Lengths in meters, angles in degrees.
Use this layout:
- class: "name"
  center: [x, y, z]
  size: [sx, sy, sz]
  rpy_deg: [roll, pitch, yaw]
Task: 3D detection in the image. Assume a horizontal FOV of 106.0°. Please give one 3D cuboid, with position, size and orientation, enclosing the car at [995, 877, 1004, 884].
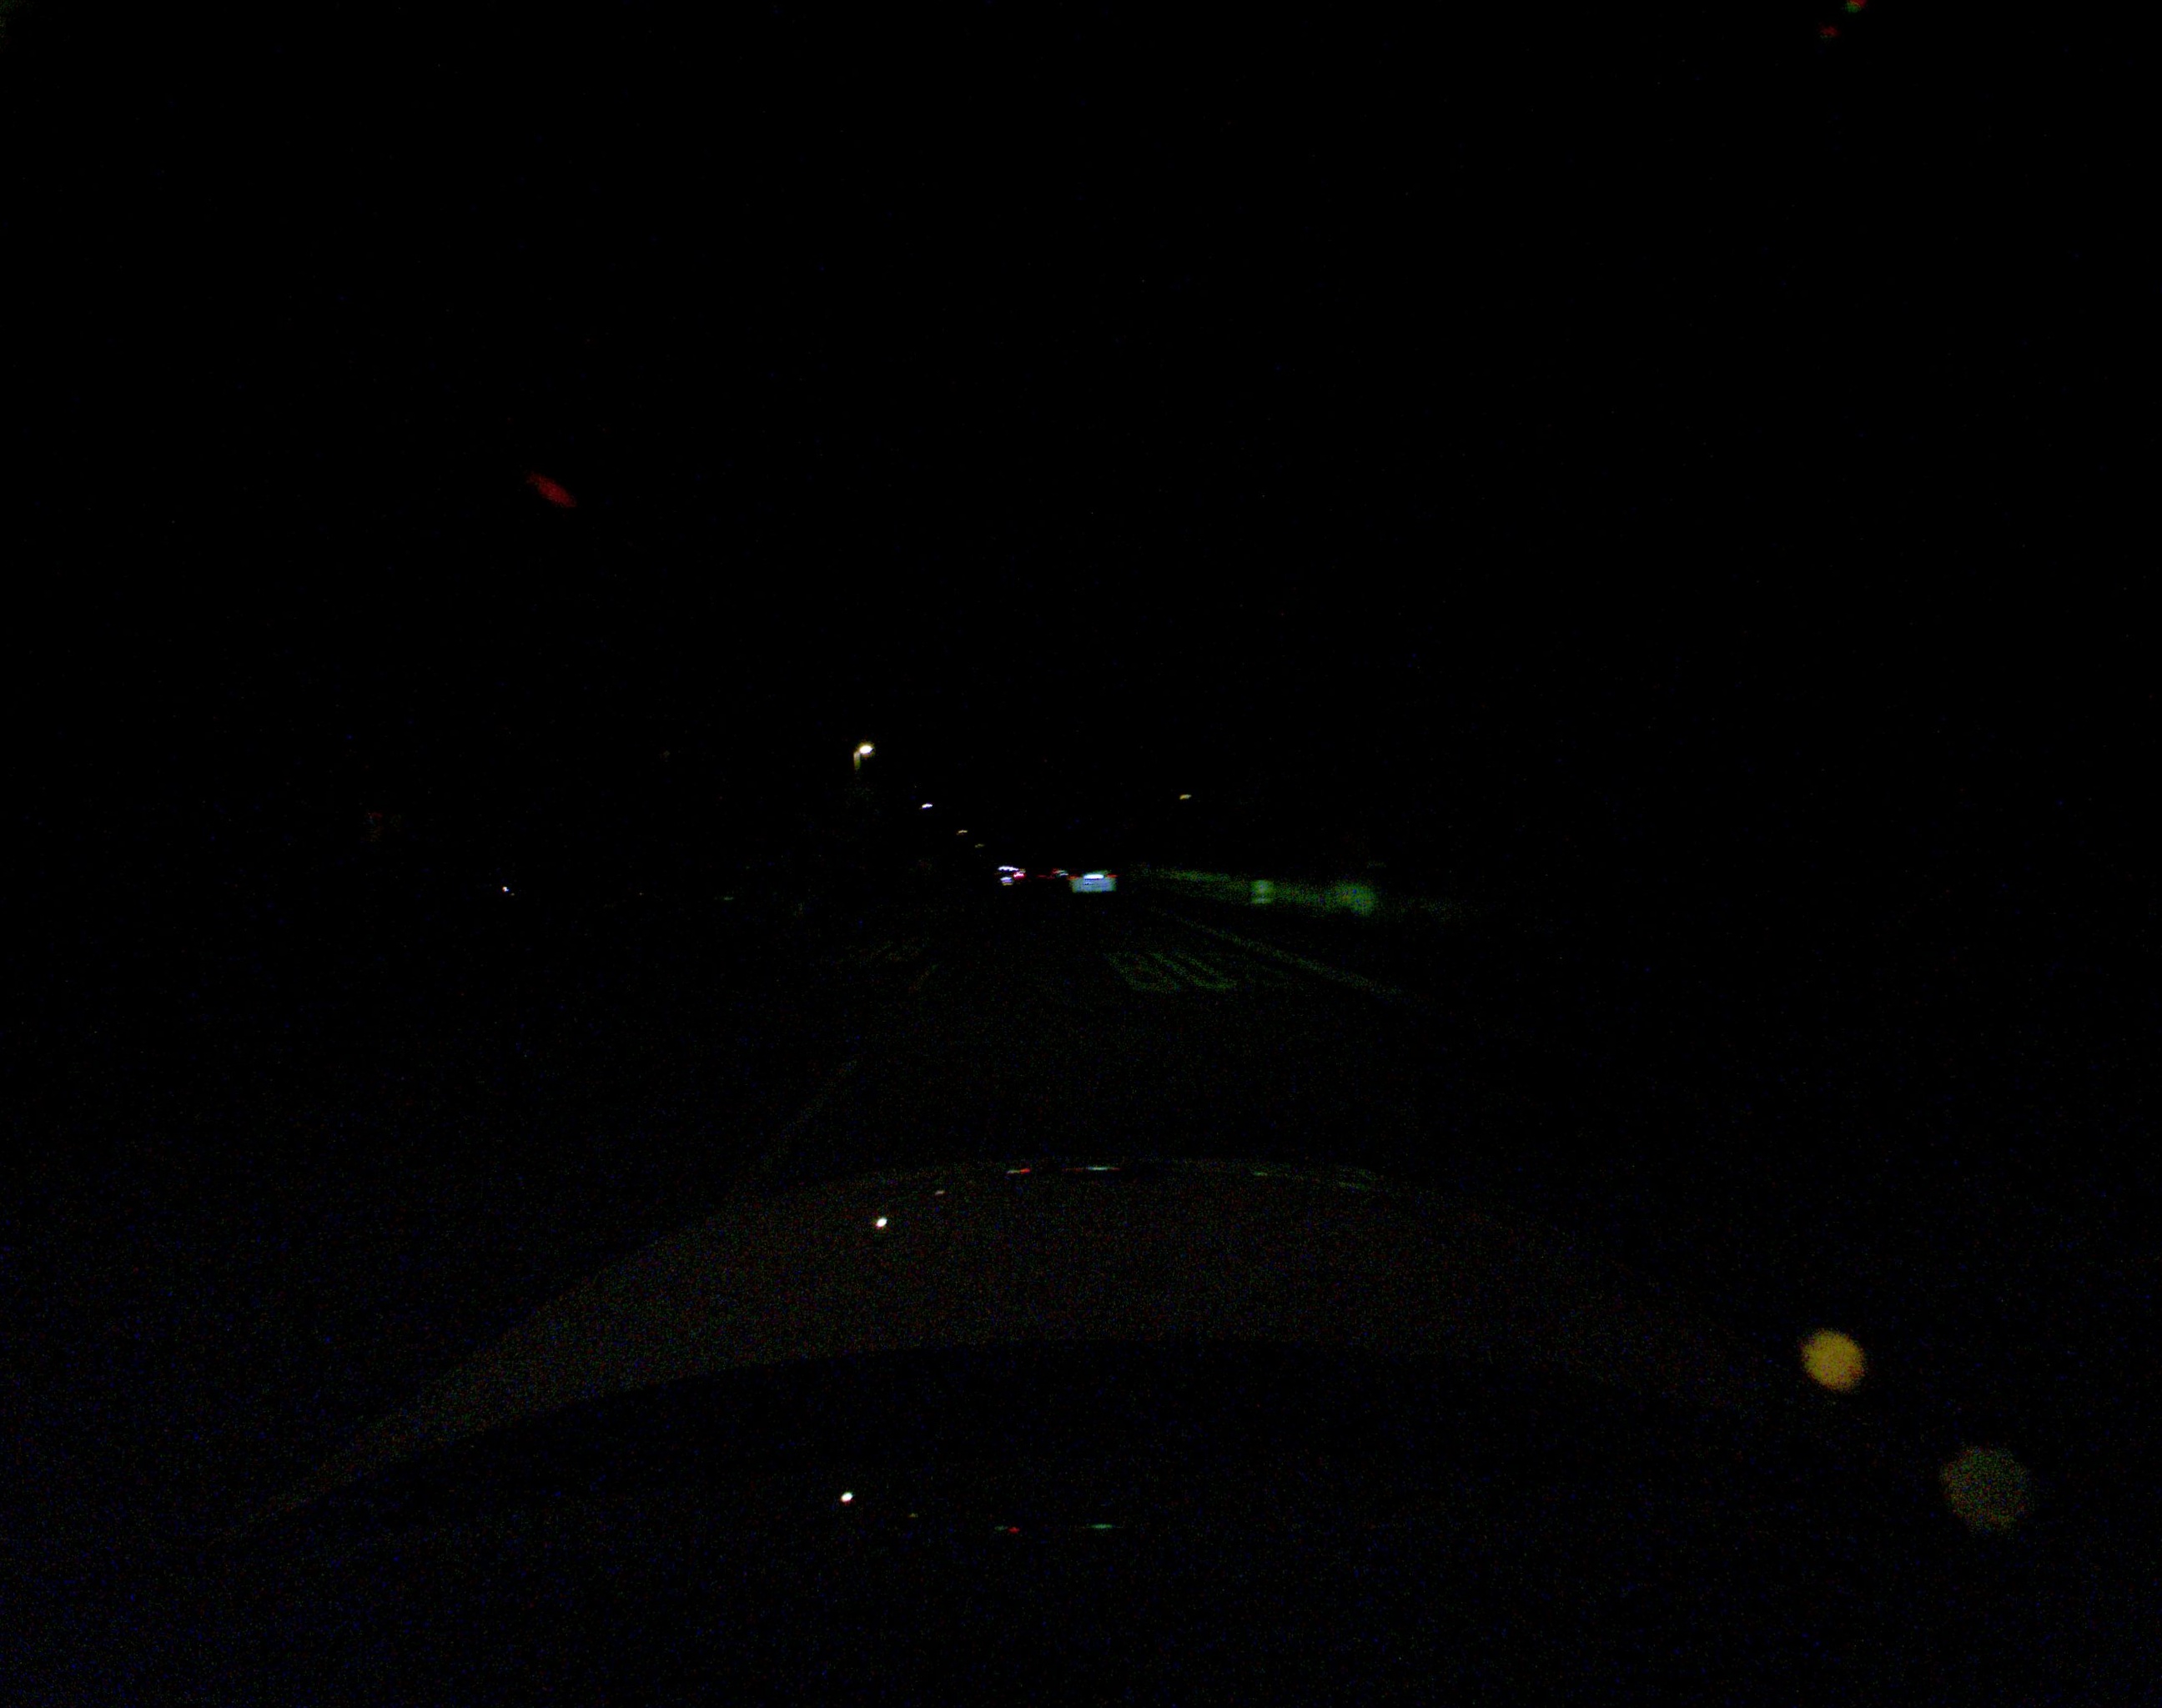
- class: "car"
  center: [-18.487, 6.004, 184.761]
  size: [1.752, 1.540, 3.720]
  rpy_deg: [-2, -2, -8]

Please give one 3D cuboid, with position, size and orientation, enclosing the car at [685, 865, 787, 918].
- class: "car"
  center: [-10.614, 1.103, 25.372]
  size: [1.974, 1.439, 3.987]
  rpy_deg: [-2, 0, -9]

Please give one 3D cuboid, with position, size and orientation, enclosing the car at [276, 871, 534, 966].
- class: "car"
  center: [-13.143, 1.170, 16.235]
  size: [1.722, 1.459, 4.118]
  rpy_deg: [-3, 0, -2]

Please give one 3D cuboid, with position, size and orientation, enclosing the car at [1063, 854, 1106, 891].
- class: "car"
  center: [0.122, 0.826, 38.338]
  size: [1.606, 1.461, 3.711]
  rpy_deg: [-5, 1, -4]

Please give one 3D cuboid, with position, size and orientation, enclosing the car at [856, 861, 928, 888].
- class: "car"
  center: [-12.889, 1.389, 55.682]
  size: [4.408, 1.613, 2.062]
  rpy_deg: [-2, -2, -4]

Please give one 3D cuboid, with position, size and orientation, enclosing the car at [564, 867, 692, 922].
- class: "car"
  center: [-13.651, 1.163, 24.829]
  size: [1.846, 1.427, 3.994]
  rpy_deg: [-2, 0, -4]

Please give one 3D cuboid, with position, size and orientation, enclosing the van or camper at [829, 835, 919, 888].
- class: "van or camper"
  center: [-13.131, 0.488, 51.926]
  size: [5.407, 3.112, 2.121]
  rpy_deg: [-1, -4, -14]

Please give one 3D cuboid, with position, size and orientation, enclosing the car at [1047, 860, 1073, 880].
- class: "car"
  center: [-1.608, 1.211, 60.997]
  size: [1.741, 1.471, 4.249]
  rpy_deg: [0, -1, -5]

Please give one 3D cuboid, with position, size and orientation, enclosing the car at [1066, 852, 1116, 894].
- class: "car"
  center: [0.336, 0.747, 33.839]
  size: [1.751, 1.594, 4.722]
  rpy_deg: [-1, 0, -3]

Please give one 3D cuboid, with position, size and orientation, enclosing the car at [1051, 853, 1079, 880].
- class: "car"
  center: [-1.135, 0.851, 55.541]
  size: [1.715, 1.761, 4.751]
  rpy_deg: [-1, -1, -4]

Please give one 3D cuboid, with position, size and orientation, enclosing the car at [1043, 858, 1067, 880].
- class: "car"
  center: [-2.118, 1.267, 66.590]
  size: [1.827, 1.664, 4.614]
  rpy_deg: [-2, -2, -2]

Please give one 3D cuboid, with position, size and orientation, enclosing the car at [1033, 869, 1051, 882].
- class: "car"
  center: [-4.613, 2.550, 95.987]
  size: [1.762, 1.476, 4.263]
  rpy_deg: [0, -2, -8]
